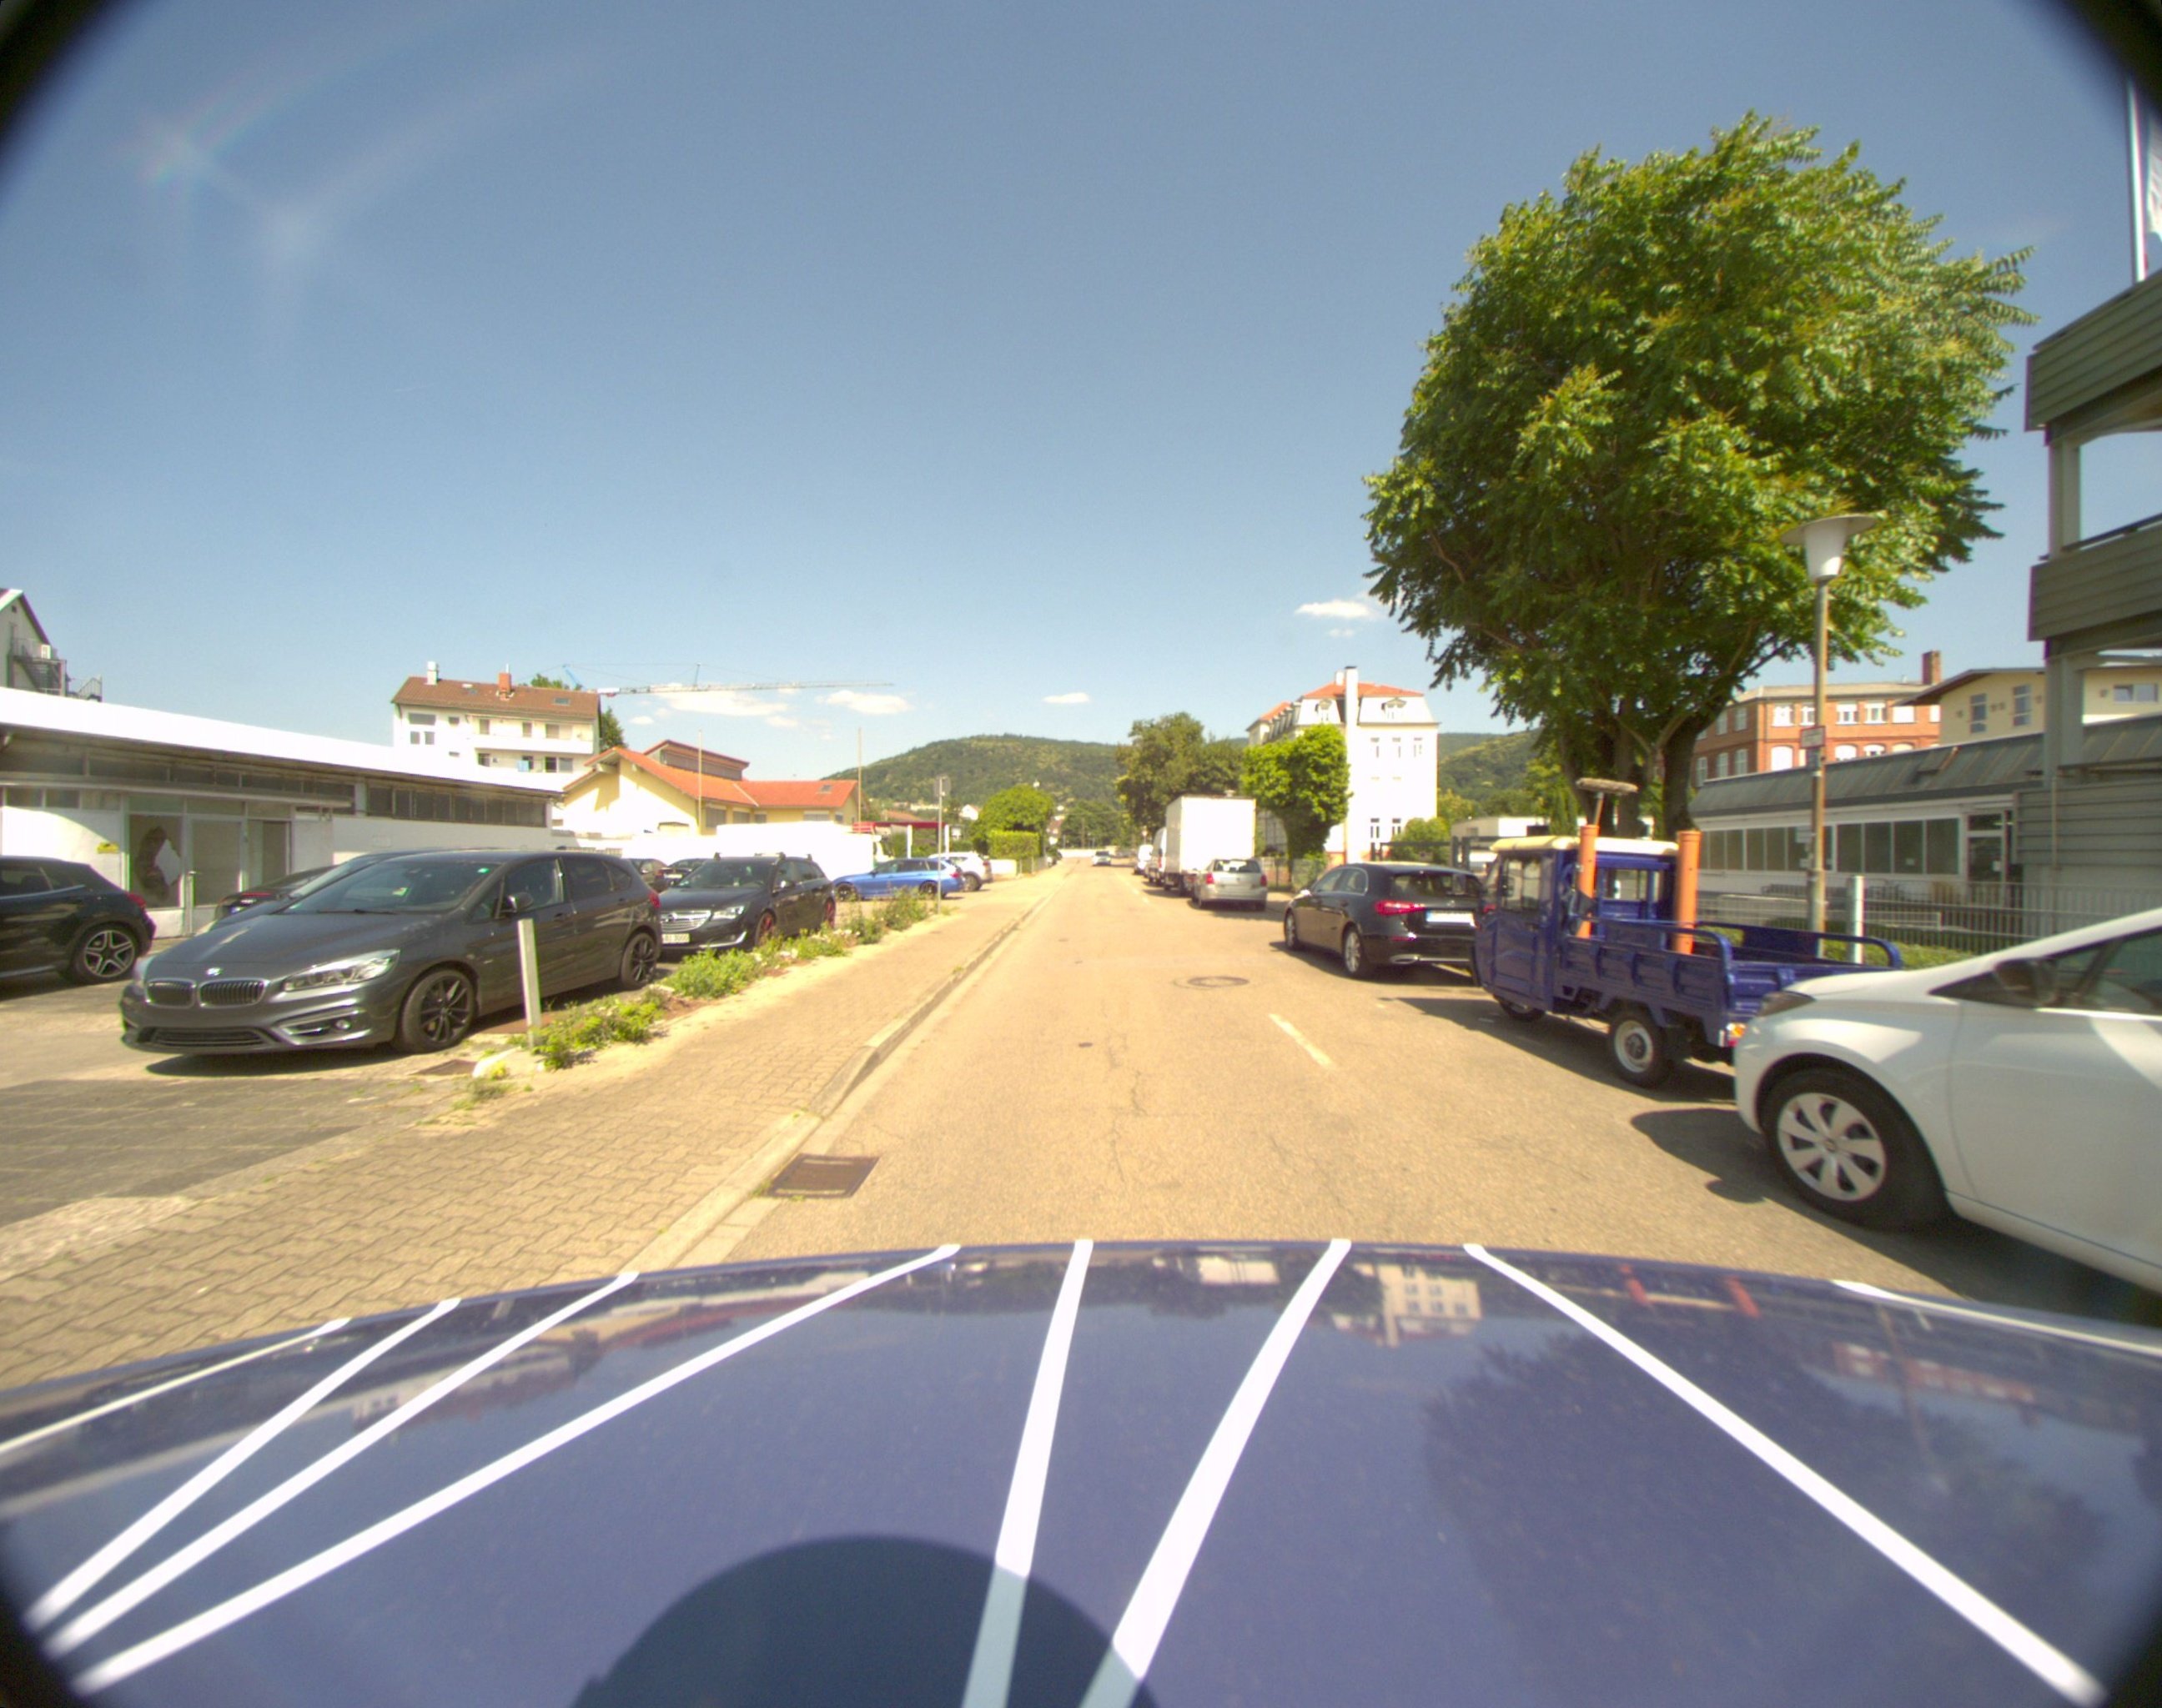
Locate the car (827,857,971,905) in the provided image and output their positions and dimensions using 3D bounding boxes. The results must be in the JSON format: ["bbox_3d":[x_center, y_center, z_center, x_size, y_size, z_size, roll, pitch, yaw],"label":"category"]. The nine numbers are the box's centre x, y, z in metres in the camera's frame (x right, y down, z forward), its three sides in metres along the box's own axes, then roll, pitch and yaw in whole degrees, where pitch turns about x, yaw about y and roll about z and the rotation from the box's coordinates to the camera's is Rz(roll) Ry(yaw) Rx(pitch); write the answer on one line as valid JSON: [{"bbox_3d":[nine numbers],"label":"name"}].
[{"bbox_3d":[-6.102,0.886,25.827,4.363,1.433,1.892,-2,0,0],"label":"car"}]

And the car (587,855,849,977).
[{"bbox_3d":[-5.481,0.813,12.381,1.863,1.558,4.951,0,0,0],"label":"car"}]

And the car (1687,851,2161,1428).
[{"bbox_3d":[3.939,0.841,1.762,1.709,1.615,3.972,2,1,-3],"label":"car"}]

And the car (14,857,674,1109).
[{"bbox_3d":[-5.790,0.827,6.936,1.816,1.549,4.292,0,0,0],"label":"car"}]

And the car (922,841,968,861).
[{"bbox_3d":[-14.715,-0.320,82.141,4.566,2.138,1.928,1,1,19],"label":"car"}]

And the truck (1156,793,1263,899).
[{"bbox_3d":[4.453,-0.315,27.779,2.692,3.347,7.128,0,1,0],"label":"truck"}]

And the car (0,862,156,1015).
[{"bbox_3d":[-11.667,0.873,6.959,1.766,1.487,4.145,1,1,-10],"label":"car"}]

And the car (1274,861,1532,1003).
[{"bbox_3d":[4.050,0.874,10.373,1.709,1.454,4.113,1,1,-1],"label":"car"}]

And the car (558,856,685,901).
[{"bbox_3d":[-16.218,0.818,27.081,1.890,1.384,4.028,1,1,5],"label":"car"}]

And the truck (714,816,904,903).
[{"bbox_3d":[-12.241,0.237,34.620,7.536,3.403,2.527,-3,1,1],"label":"truck"}]

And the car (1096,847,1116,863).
[{"bbox_3d":[2.442,0.034,75.384,1.896,1.412,4.169,2,2,0],"label":"car"}]

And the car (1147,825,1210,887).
[{"bbox_3d":[4.407,0.032,35.494,2.173,2.581,6.919,1,1,1],"label":"car"}]

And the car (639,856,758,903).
[{"bbox_3d":[-13.351,0.849,26.836,1.890,1.433,4.188,1,1,4],"label":"car"}]

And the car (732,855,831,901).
[{"bbox_3d":[-10.532,0.798,27.068,1.891,1.433,4.454,0,1,-2],"label":"car"}]

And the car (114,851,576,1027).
[{"bbox_3d":[-8.245,0.816,9.061,1.763,1.585,3.620,-3,0,4],"label":"car"}]

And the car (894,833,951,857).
[{"bbox_3d":[-17.720,-0.984,84.952,6.025,2.663,2.255,0,2,-22],"label":"car"}]

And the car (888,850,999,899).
[{"bbox_3d":[-5.680,0.834,31.751,4.211,1.672,1.766,-5,1,0],"label":"car"}]

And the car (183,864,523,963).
[{"bbox_3d":[-11.903,0.877,12.890,1.645,1.317,4.101,0,0,4],"label":"car"}]

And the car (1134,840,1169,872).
[{"bbox_3d":[4.728,0.091,51.395,1.976,2.002,5.055,1,1,1],"label":"car"}]

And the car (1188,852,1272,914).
[{"bbox_3d":[4.079,0.721,21.421,1.745,1.512,4.311,1,1,4],"label":"car"}]

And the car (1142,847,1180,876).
[{"bbox_3d":[4.624,0.402,44.524,1.718,1.535,4.399,1,1,0],"label":"car"}]

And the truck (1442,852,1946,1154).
[{"bbox_3d":[4.089,0.816,5.711,1.141,1.613,3.140,2,0,-1],"label":"truck"}]

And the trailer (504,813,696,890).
[{"bbox_3d":[-25.115,-0.118,39.930,8.350,3.841,3.068,0,1,6],"label":"trailer"}]

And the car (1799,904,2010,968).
[{"bbox_3d":[23.784,2.308,22.204,1.998,1.434,4.001,0,0,5],"label":"car"}]
